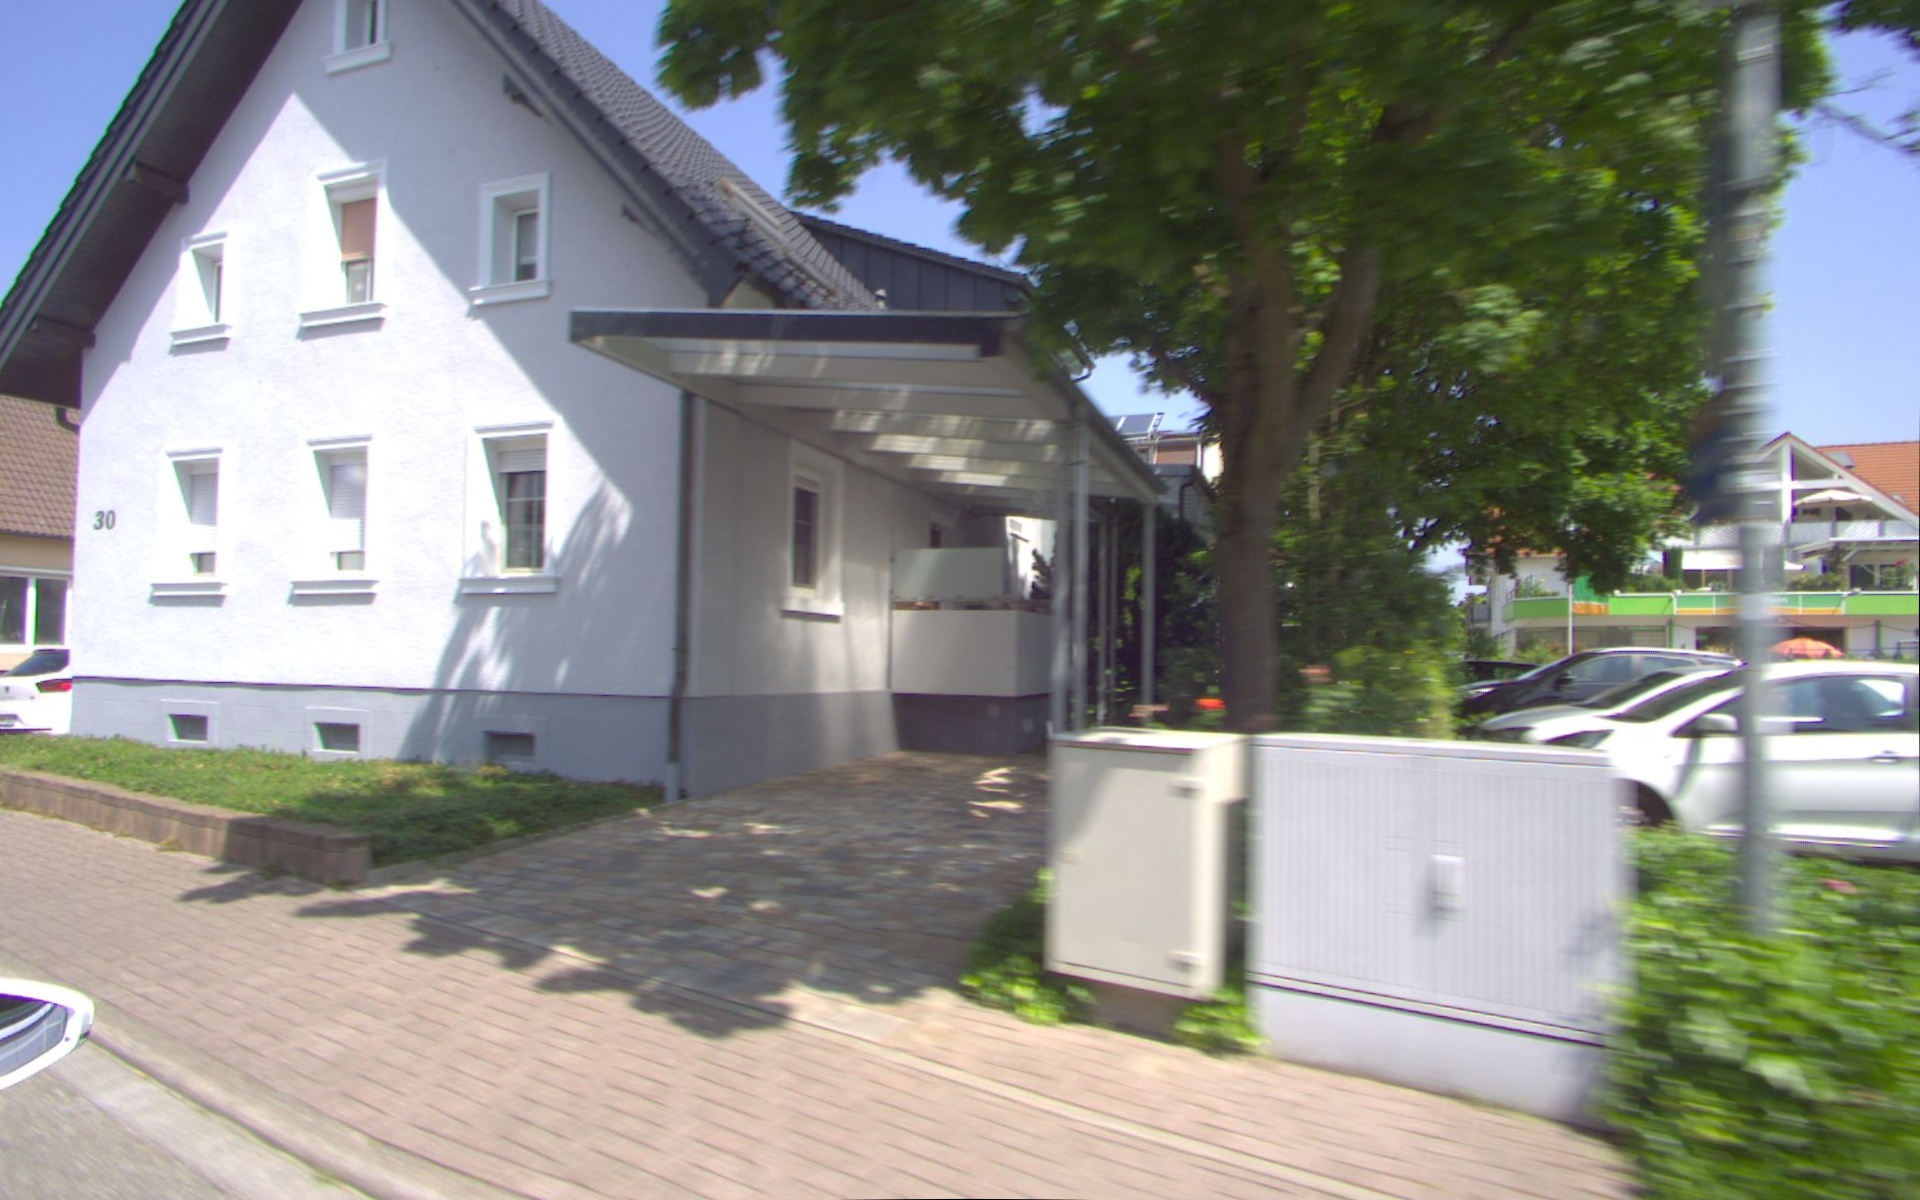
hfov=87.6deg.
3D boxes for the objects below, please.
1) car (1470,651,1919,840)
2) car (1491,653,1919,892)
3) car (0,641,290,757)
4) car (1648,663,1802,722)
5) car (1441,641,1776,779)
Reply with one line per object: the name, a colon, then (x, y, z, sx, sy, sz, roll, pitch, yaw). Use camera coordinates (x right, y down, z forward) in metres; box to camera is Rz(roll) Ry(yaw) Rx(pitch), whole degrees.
car: (7.180, 1.310, 9.747, 3.798, 1.492, 1.594, 1, -2, 23)
car: (6.001, 1.184, 7.424, 3.508, 1.463, 1.593, 1, -2, 24)
car: (-11.000, 1.250, 13.457, 1.399, 1.362, 3.046, -1, -3, 23)
car: (22.607, 2.722, 29.605, 3.931, 1.619, 1.701, 2, -3, -18)
car: (9.178, 1.509, 14.528, 3.796, 1.704, 1.595, 1, -2, 21)
